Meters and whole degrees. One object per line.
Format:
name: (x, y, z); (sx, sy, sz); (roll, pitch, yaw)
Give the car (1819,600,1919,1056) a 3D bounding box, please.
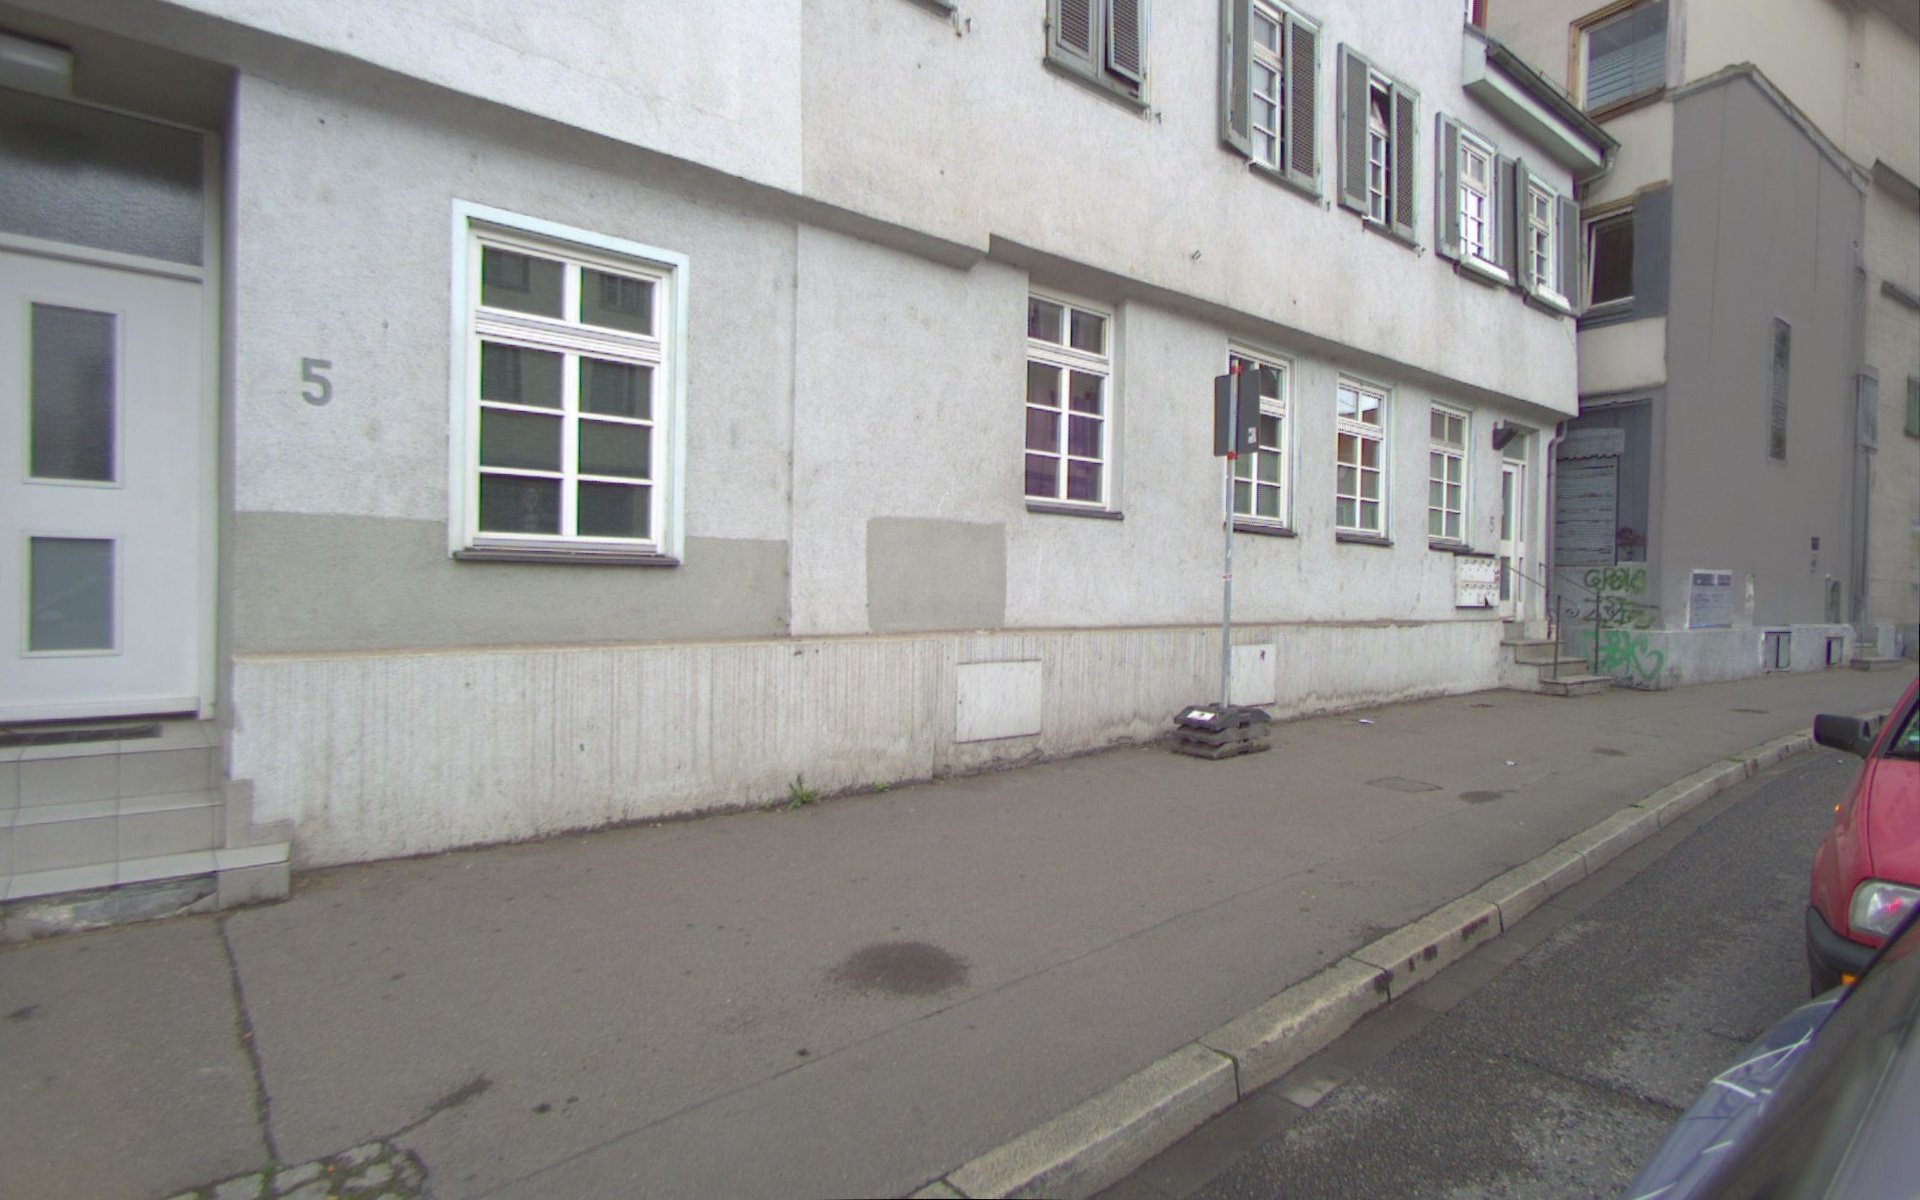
car: (5.049, 0.739, 4.084); (3.930, 1.485, 1.802); (0, -2, -41)
